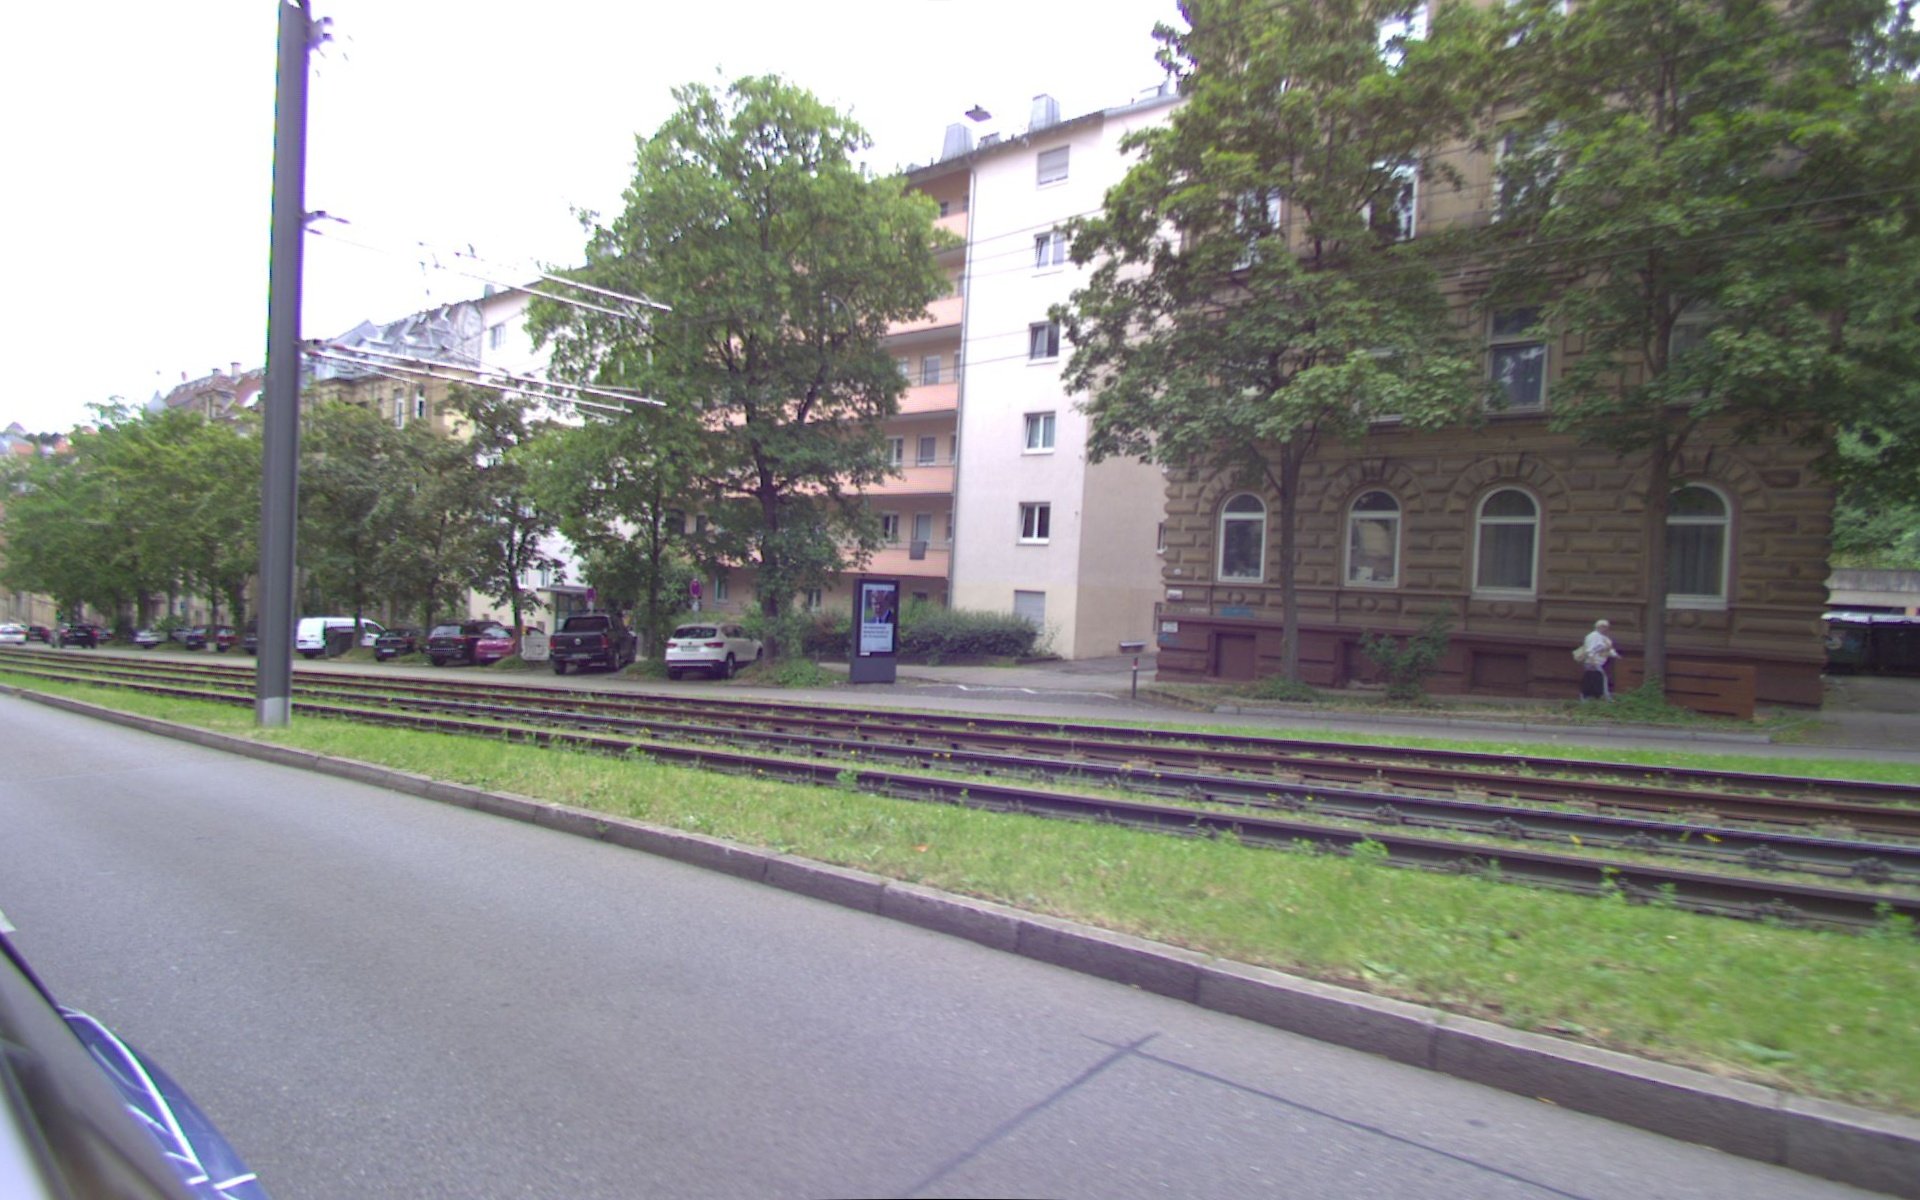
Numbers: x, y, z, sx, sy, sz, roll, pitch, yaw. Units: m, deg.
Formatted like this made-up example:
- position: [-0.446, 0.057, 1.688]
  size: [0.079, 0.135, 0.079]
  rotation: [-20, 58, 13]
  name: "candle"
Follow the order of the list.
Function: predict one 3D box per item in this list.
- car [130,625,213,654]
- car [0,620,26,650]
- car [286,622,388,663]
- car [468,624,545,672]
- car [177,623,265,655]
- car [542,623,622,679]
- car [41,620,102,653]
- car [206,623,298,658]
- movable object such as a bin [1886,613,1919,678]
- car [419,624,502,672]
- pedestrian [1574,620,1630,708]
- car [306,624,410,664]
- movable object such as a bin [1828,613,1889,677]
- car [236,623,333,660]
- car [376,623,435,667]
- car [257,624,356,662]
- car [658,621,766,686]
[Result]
- position: [-50.573, 2.510, 64.958]
  size: [1.774, 1.828, 3.826]
  rotation: [-1, -2, 24]
  name: "car"
- position: [-68.056, 2.476, 71.949]
  size: [3.998, 2.029, 1.973]
  rotation: [-1, -2, 41]
  name: "car"
- position: [-28.720, 1.923, 46.782]
  size: [1.769, 1.828, 3.837]
  rotation: [0, -2, 16]
  name: "car"
- position: [-16.768, 1.753, 37.617]
  size: [1.755, 1.701, 3.866]
  rotation: [0, -2, -11]
  name: "car"
- position: [-43.550, 2.258, 59.724]
  size: [1.774, 1.828, 3.826]
  rotation: [-1, -2, 24]
  name: "car"
- position: [-12.138, 1.605, 32.706]
  size: [1.755, 1.701, 3.866]
  rotation: [0, -2, -11]
  name: "car"
- position: [-56.899, 2.325, 64.779]
  size: [3.989, 2.029, 1.977]
  rotation: [-1, -2, 34]
  name: "car"
- position: [-39.308, 2.227, 56.278]
  size: [1.774, 1.828, 3.826]
  rotation: [-1, -2, 24]
  name: "car"
- position: [22.358, 1.048, 23.600]
  size: [1.037, 1.468, 1.096]
  rotation: [-1, 0, 40]
  name: "movable object such as a bin"
- position: [-18.893, 1.789, 38.449]
  size: [1.756, 1.701, 3.865]
  rotation: [0, -2, -10]
  name: "car"
- position: [11.546, 1.131, 18.191]
  size: [0.739, 1.524, 0.681]
  rotation: [-1, -2, 41]
  name: "pedestrian"
- position: [-26.954, 1.936, 45.424]
  size: [1.769, 1.701, 3.837]
  rotation: [0, -2, 16]
  name: "car"
- position: [21.547, 1.058, 24.287]
  size: [1.037, 1.468, 1.096]
  rotation: [-1, 0, 40]
  name: "movable object such as a bin"
- position: [-34.802, 2.127, 52.255]
  size: [1.774, 1.828, 3.826]
  rotation: [-1, -2, 24]
  name: "car"
- position: [-23.211, 1.837, 42.462]
  size: [1.753, 1.701, 3.870]
  rotation: [1, -1, -22]
  name: "car"
- position: [-32.649, 2.104, 50.691]
  size: [1.774, 1.828, 3.826]
  rotation: [-1, -2, 24]
  name: "car"
- position: [-7.081, 1.485, 29.292]
  size: [1.763, 1.701, 3.849]
  rotation: [0, -1, 7]
  name: "car"
